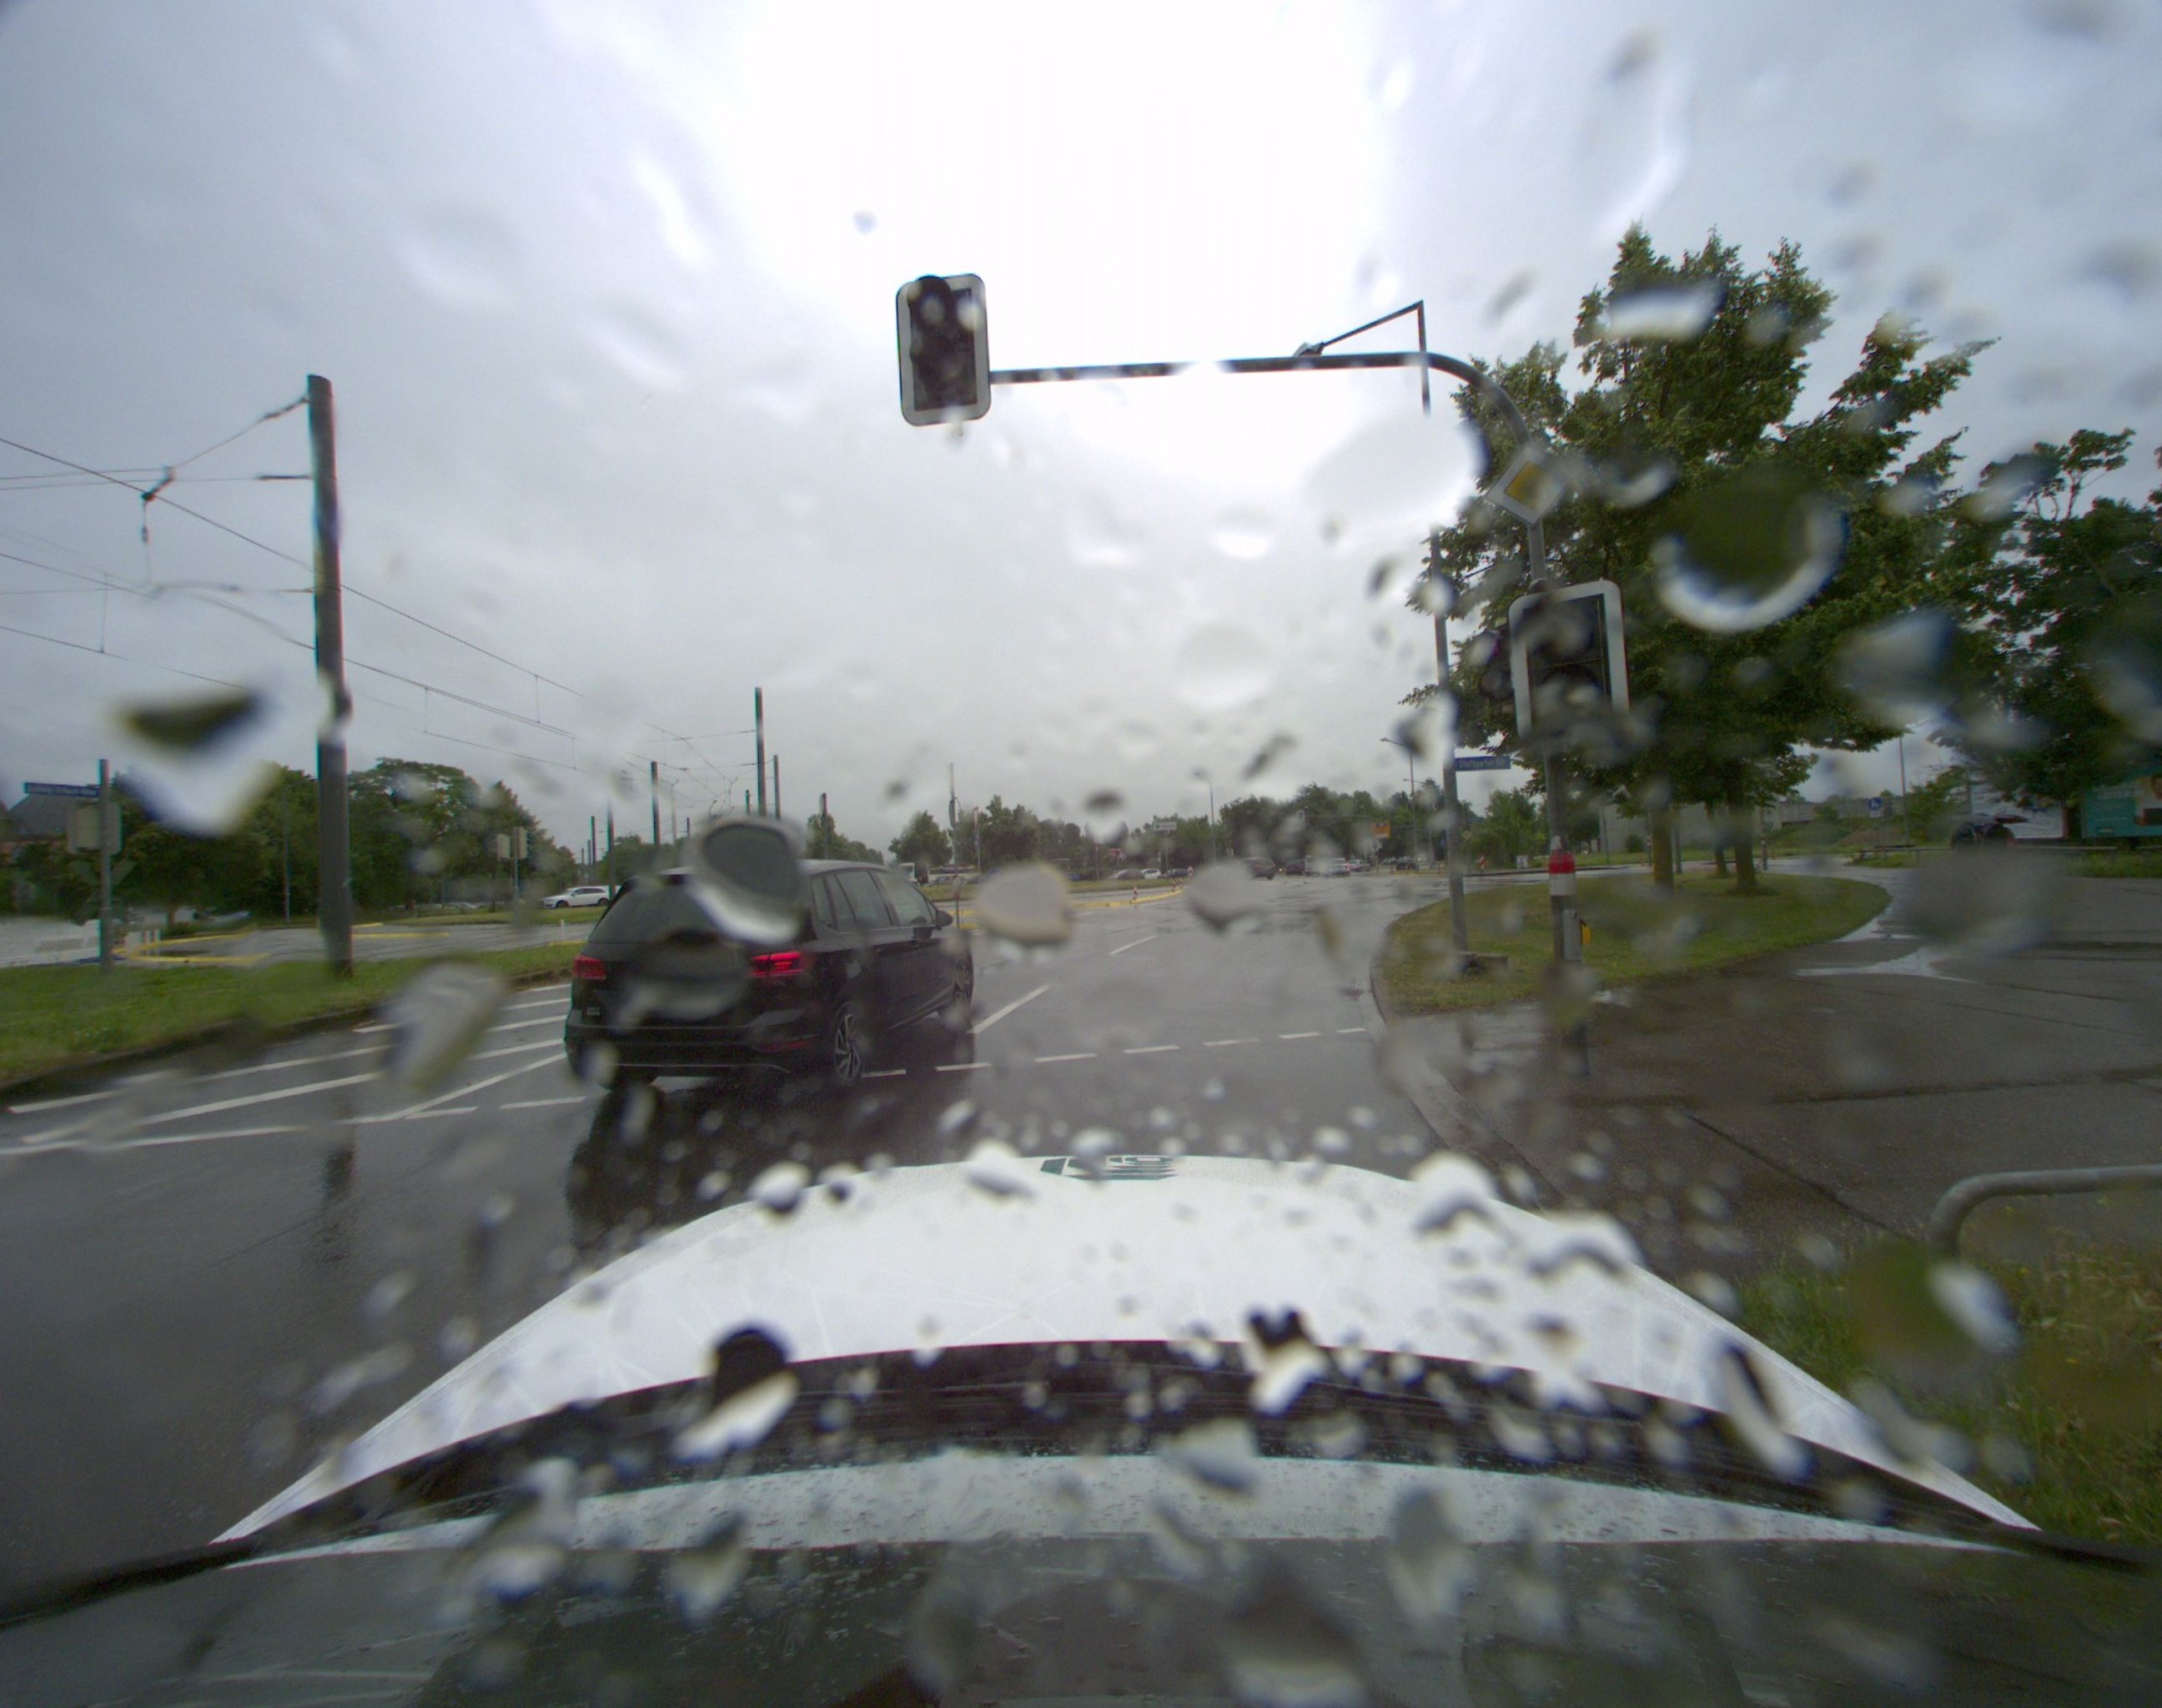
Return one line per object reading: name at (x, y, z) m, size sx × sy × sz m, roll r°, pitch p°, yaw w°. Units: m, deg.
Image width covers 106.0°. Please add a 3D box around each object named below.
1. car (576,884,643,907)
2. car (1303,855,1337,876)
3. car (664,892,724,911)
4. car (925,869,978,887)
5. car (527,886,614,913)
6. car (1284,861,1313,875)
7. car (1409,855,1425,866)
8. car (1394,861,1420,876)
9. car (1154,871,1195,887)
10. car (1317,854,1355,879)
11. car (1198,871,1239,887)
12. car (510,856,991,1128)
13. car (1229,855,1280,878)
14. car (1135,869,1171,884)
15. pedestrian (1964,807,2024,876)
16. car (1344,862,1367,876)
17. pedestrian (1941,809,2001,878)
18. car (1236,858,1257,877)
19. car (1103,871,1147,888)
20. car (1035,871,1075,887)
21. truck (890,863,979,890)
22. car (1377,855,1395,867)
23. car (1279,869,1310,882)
car at (-37.560, 3.301, 64.957) m, size 1.811 × 1.724 × 4.192 m, roll -1°, pitch -2°, yaw 34°
car at (23.732, 1.122, 80.786) m, size 1.766 × 2.036 × 4.025 m, roll -2°, pitch -2°, yaw 40°
car at (-33.131, 4.019, 69.806) m, size 4.560 × 1.492 × 1.597 m, roll 0°, pitch -2°, yaw -29°
car at (-12.385, 2.301, 77.951) m, size 4.836 × 1.744 × 1.777 m, roll 0°, pitch -2°, yaw -1°
car at (-36.155, 3.173, 57.820) m, size 1.755 × 1.744 × 4.896 m, roll -1°, pitch -2°, yaw 31°
car at (22.793, 1.470, 85.322) m, size 1.673 × 1.492 × 3.270 m, roll -2°, pitch -2°, yaw 42°
car at (62.281, 1.160, 150.924) m, size 1.771 × 2.014 × 3.696 m, roll -2°, pitch -2°, yaw 38°
car at (36.572, 1.609, 91.296) m, size 1.672 × 1.492 × 3.272 m, roll -3°, pitch -1°, yaw 39°
car at (10.056, 2.639, 87.219) m, size 3.996 × 1.648 × 1.779 m, roll 0°, pitch -2°, yaw -17°
car at (19.878, 0.993, 63.650) m, size 1.775 × 1.811 × 4.844 m, roll -3°, pitch -1°, yaw 5°
car at (14.725, 2.686, 87.282) m, size 4.002 × 1.648 × 1.776 m, roll 0°, pitch -2°, yaw -22°
car at (-2.163, 0.829, 6.825) m, size 1.773 × 1.517 × 4.341 m, roll -1°, pitch -1°, yaw 8°
car at (12.595, 0.927, 59.426) m, size 1.789 × 1.648 × 3.973 m, roll 0°, pitch -2°, yaw -20°
car at (8.115, 2.511, 91.558) m, size 4.021 × 1.648 × 1.767 m, roll 1°, pitch -2°, yaw -42°
pedestrian at (24.484, -0.310, 21.843) m, size 0.811 × 1.784 × 0.914 m, roll 1°, pitch -2°, yaw -34°
car at (32.274, 1.743, 95.683) m, size 1.672 × 1.492 × 3.272 m, roll -3°, pitch -1°, yaw 32°
pedestrian at (23.422, -0.258, 21.429) m, size 0.811 × 1.784 × 0.914 m, roll 1°, pitch -2°, yaw -34°
car at (14.706, 1.225, 72.106) m, size 1.669 × 1.648 × 3.961 m, roll -1°, pitch -2°, yaw 14°
car at (4.307, 2.484, 79.860) m, size 3.996 × 1.648 × 1.779 m, roll 0°, pitch -2°, yaw -17°
car at (-2.759, 2.602, 85.741) m, size 3.991 × 1.648 × 1.781 m, roll 0°, pitch -2°, yaw -13°
truck at (-14.727, 2.245, 82.159) m, size 8.776 × 2.711 × 1.991 m, roll 0°, pitch -2°, yaw -13°
car at (52.521, 1.299, 140.084) m, size 1.771 × 2.014 × 3.696 m, roll -2°, pitch -2°, yaw 38°
car at (26.168, 2.590, 99.756) m, size 4.020 × 1.574 × 1.657 m, roll 1°, pitch -2°, yaw -39°
